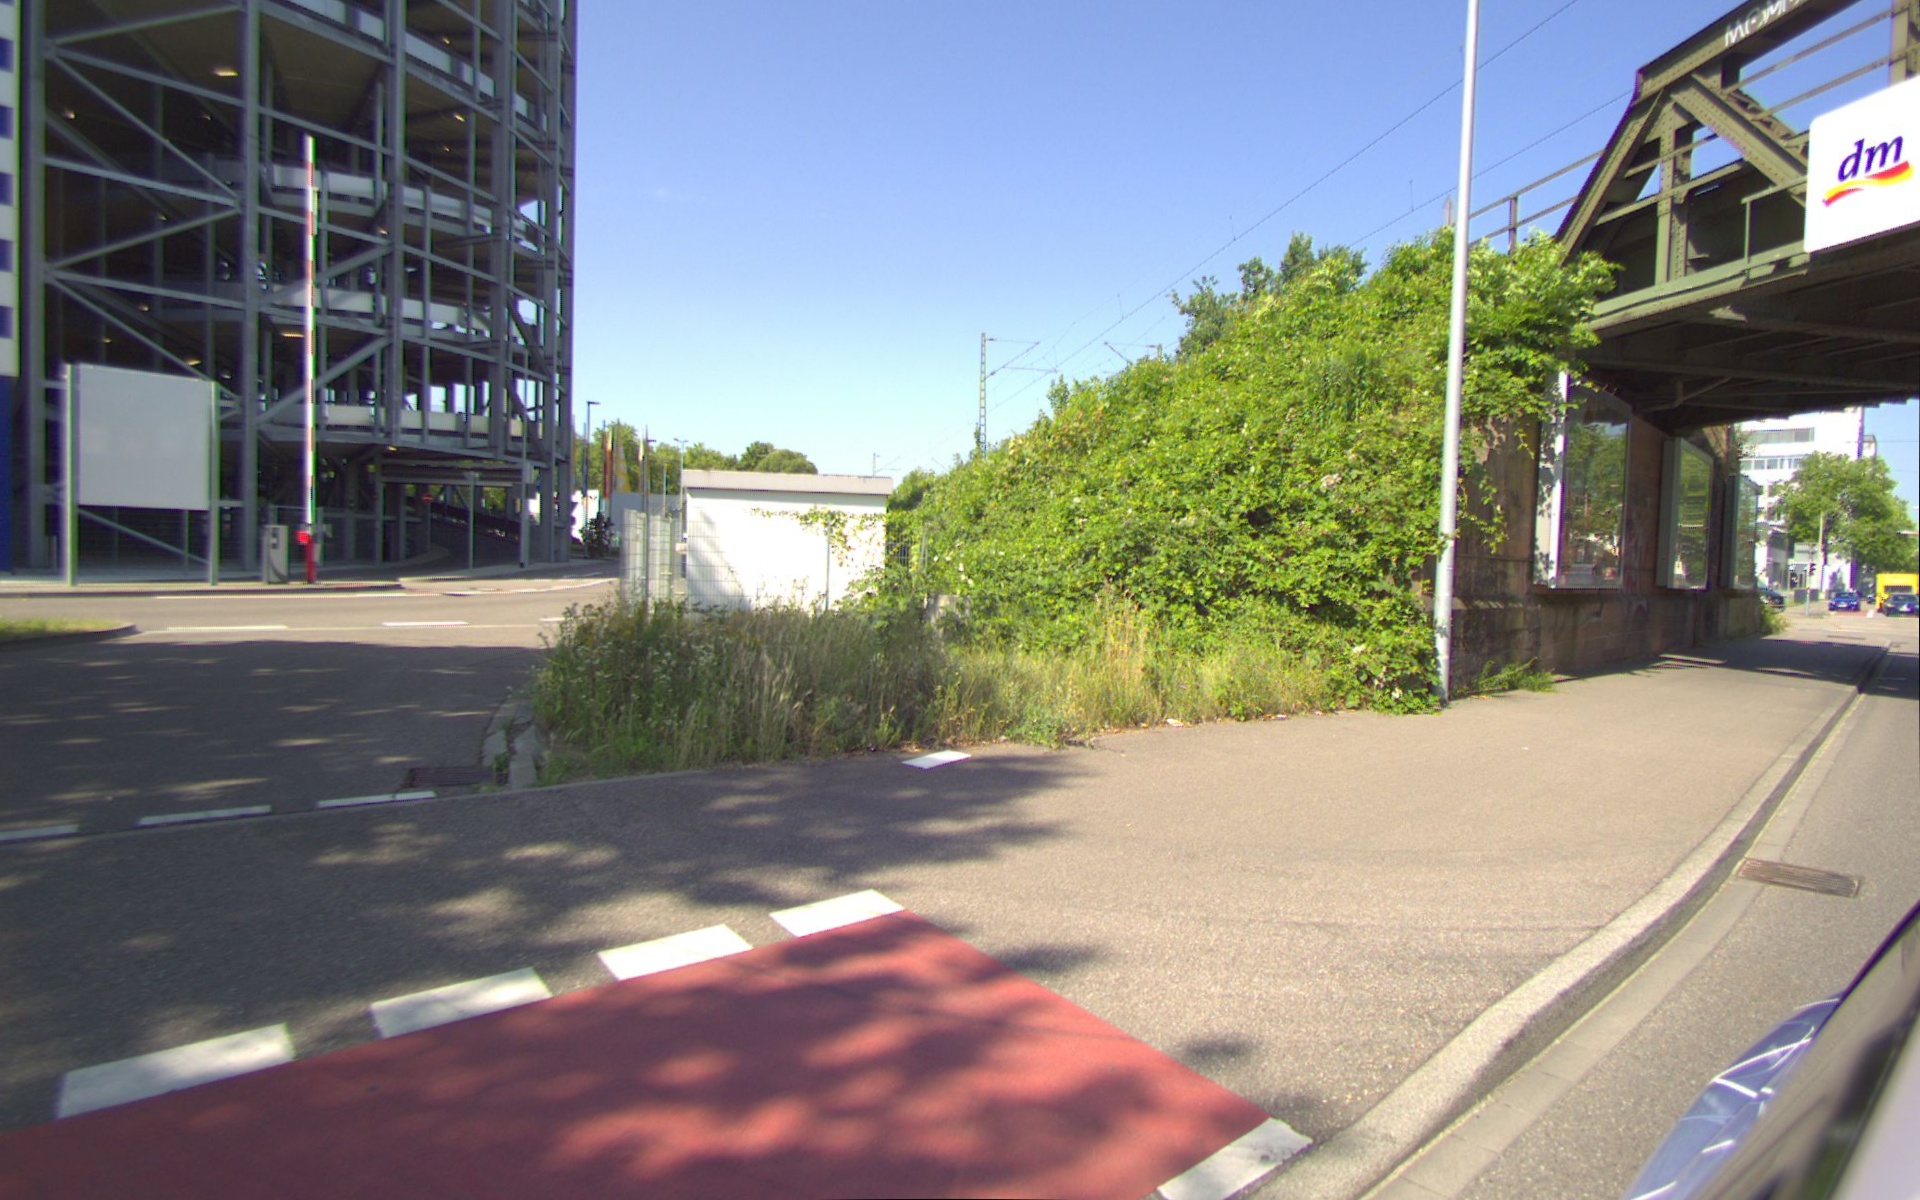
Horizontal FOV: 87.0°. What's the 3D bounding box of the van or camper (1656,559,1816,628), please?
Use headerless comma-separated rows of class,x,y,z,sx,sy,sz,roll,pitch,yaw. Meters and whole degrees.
van or camper,37.874,-0.308,49.552,2.552,3.195,5.778,1,0,-38

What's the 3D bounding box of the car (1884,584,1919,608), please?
car,59.124,-0.248,63.267,1.817,1.370,3.941,4,3,41

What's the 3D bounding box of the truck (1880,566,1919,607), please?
truck,69.942,-0.933,74.873,2.399,2.899,5.722,1,0,39
